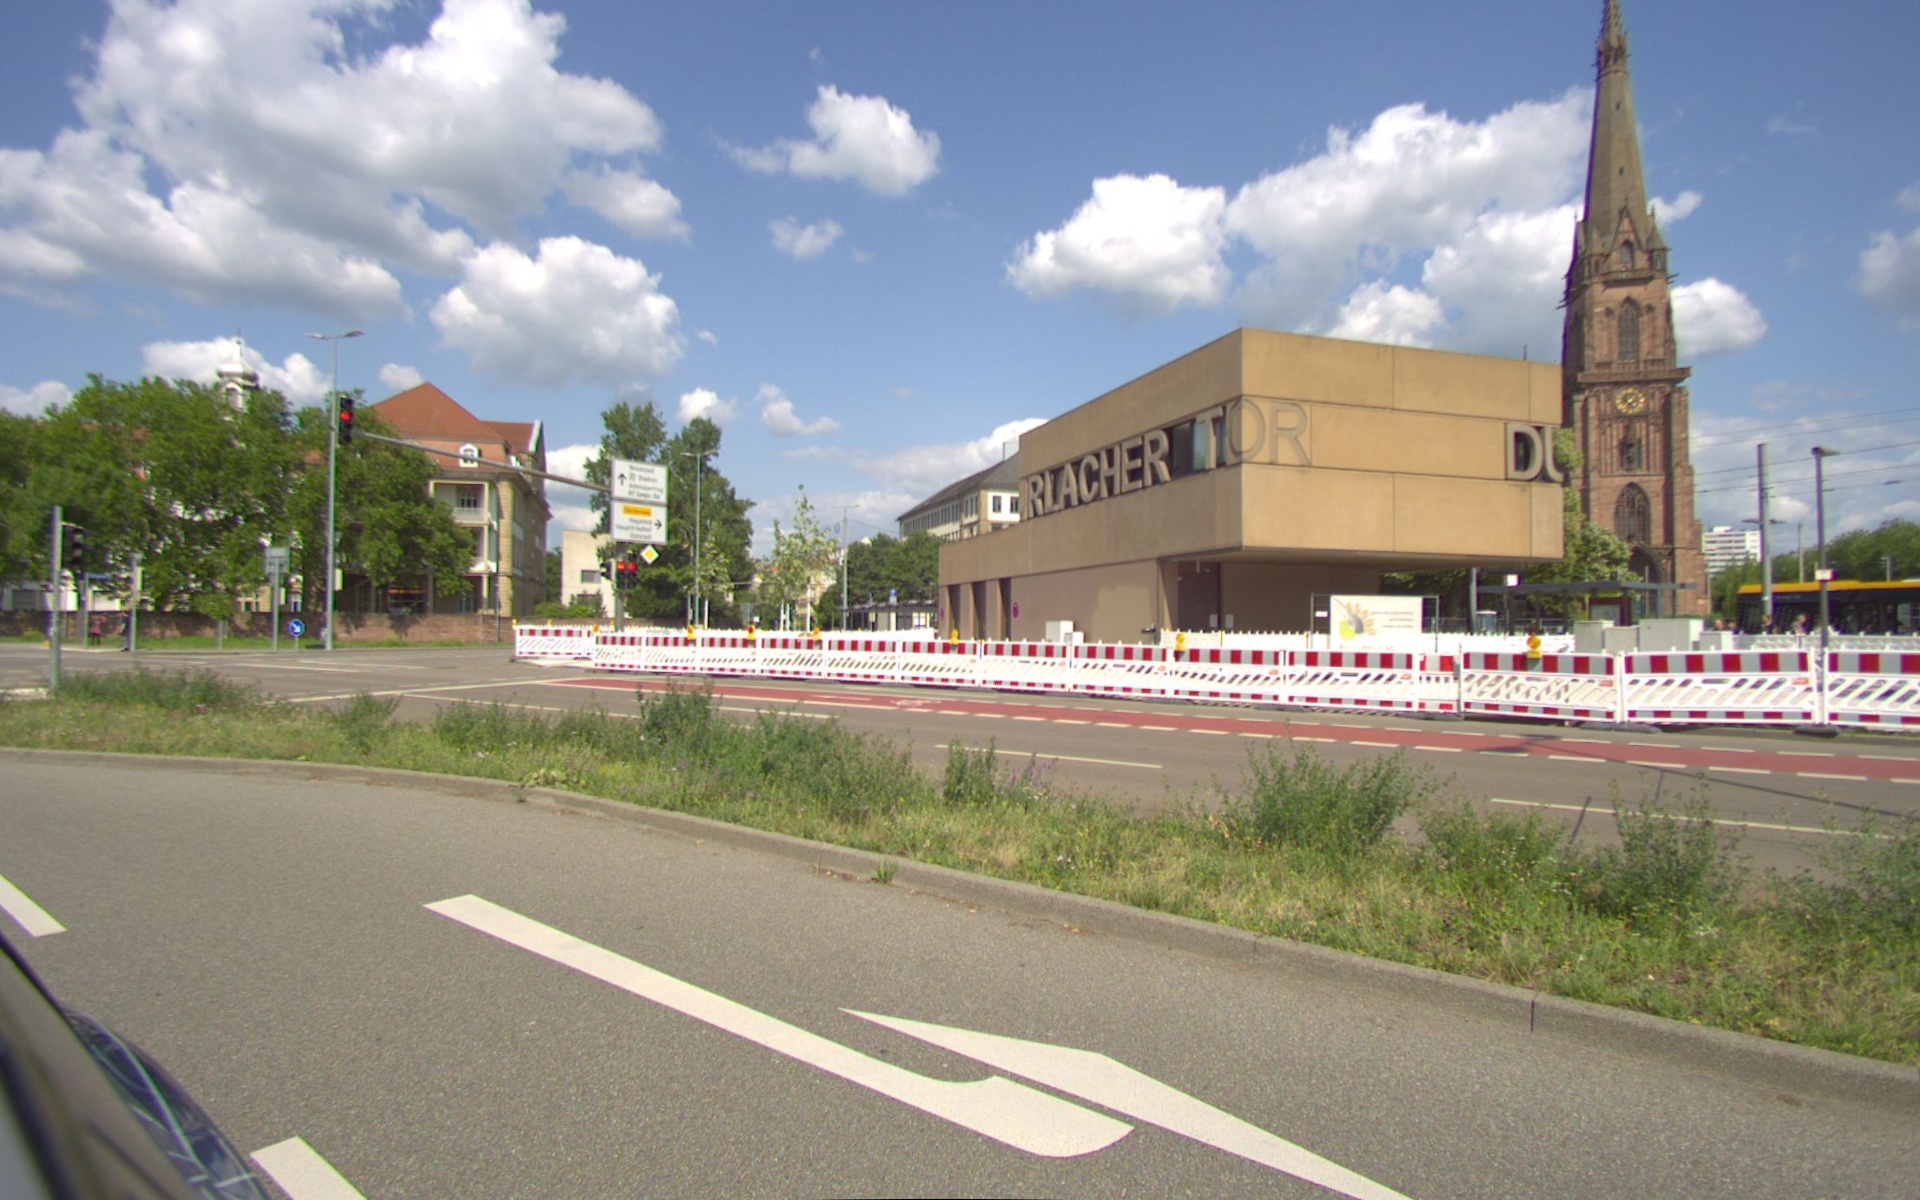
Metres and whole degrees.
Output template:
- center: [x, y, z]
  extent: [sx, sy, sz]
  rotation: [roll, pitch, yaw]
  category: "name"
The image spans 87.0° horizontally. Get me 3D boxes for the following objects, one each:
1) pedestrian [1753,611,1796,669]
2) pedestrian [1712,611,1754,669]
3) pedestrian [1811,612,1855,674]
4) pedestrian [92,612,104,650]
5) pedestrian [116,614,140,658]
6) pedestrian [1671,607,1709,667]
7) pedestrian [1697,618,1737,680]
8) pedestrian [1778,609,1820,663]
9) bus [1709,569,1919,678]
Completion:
- center: [23.374, 1.142, 29.053]
  extent: [0.752, 1.644, 0.655]
  rotation: [1, -2, -23]
  category: "pedestrian"
- center: [22.426, 1.152, 29.352]
  extent: [0.752, 1.644, 0.655]
  rotation: [1, -2, -23]
  category: "pedestrian"
- center: [23.458, 1.138, 27.199]
  extent: [0.753, 1.644, 0.655]
  rotation: [1, -2, -30]
  category: "pedestrian"
- center: [-40.102, 1.436, 47.092]
  extent: [0.451, 1.745, 0.364]
  rotation: [-1, 0, 45]
  category: "pedestrian"
- center: [-38.370, 1.649, 46.679]
  extent: [0.616, 2.009, 0.579]
  rotation: [-1, 0, 13]
  category: "pedestrian"
- center: [20.472, 1.032, 28.392]
  extent: [0.720, 1.642, 0.561]
  rotation: [1, -2, -27]
  category: "pedestrian"
- center: [20.426, 1.297, 27.319]
  extent: [0.763, 1.644, 0.646]
  rotation: [-1, -2, 30]
  category: "pedestrian"
- center: [25.924, 1.108, 31.289]
  extent: [0.641, 1.644, 0.768]
  rotation: [1, -2, -23]
  category: "pedestrian"
- center: [29.277, 0.691, 29.333]
  extent: [2.785, 3.160, 12.879]
  rotation: [1, -2, -18]
  category: "bus"
